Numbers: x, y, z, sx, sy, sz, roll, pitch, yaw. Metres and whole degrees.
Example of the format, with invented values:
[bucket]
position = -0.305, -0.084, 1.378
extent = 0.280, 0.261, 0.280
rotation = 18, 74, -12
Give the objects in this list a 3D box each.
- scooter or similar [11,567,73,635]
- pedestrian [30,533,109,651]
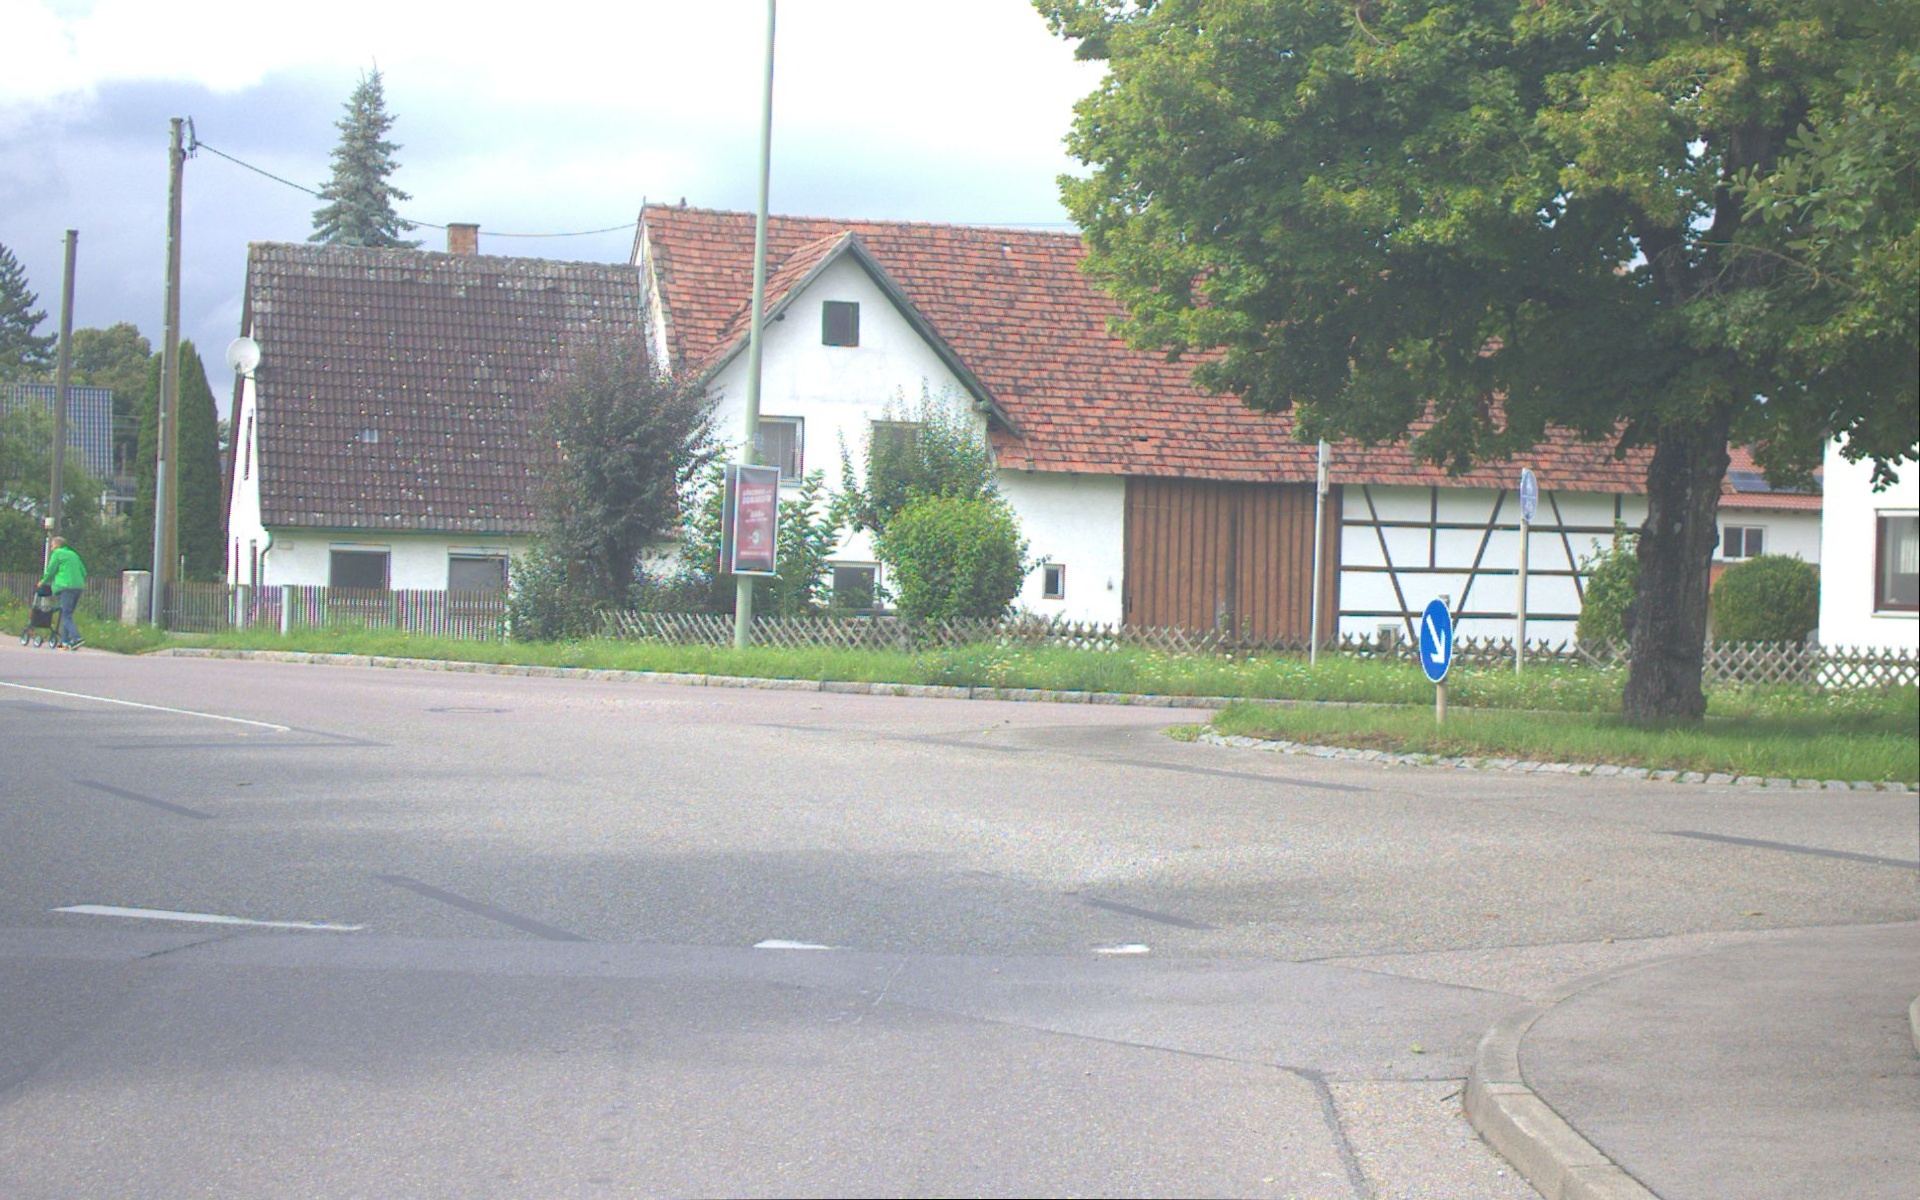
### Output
[scooter or similar]
position = -13.736, 0.009, 51.438
extent = 0.630, 0.945, 0.622
rotation = 7, -2, -34
[pedestrian]
position = -13.194, -0.123, 50.936
extent = 0.788, 1.659, 0.712
rotation = 7, -2, -34
